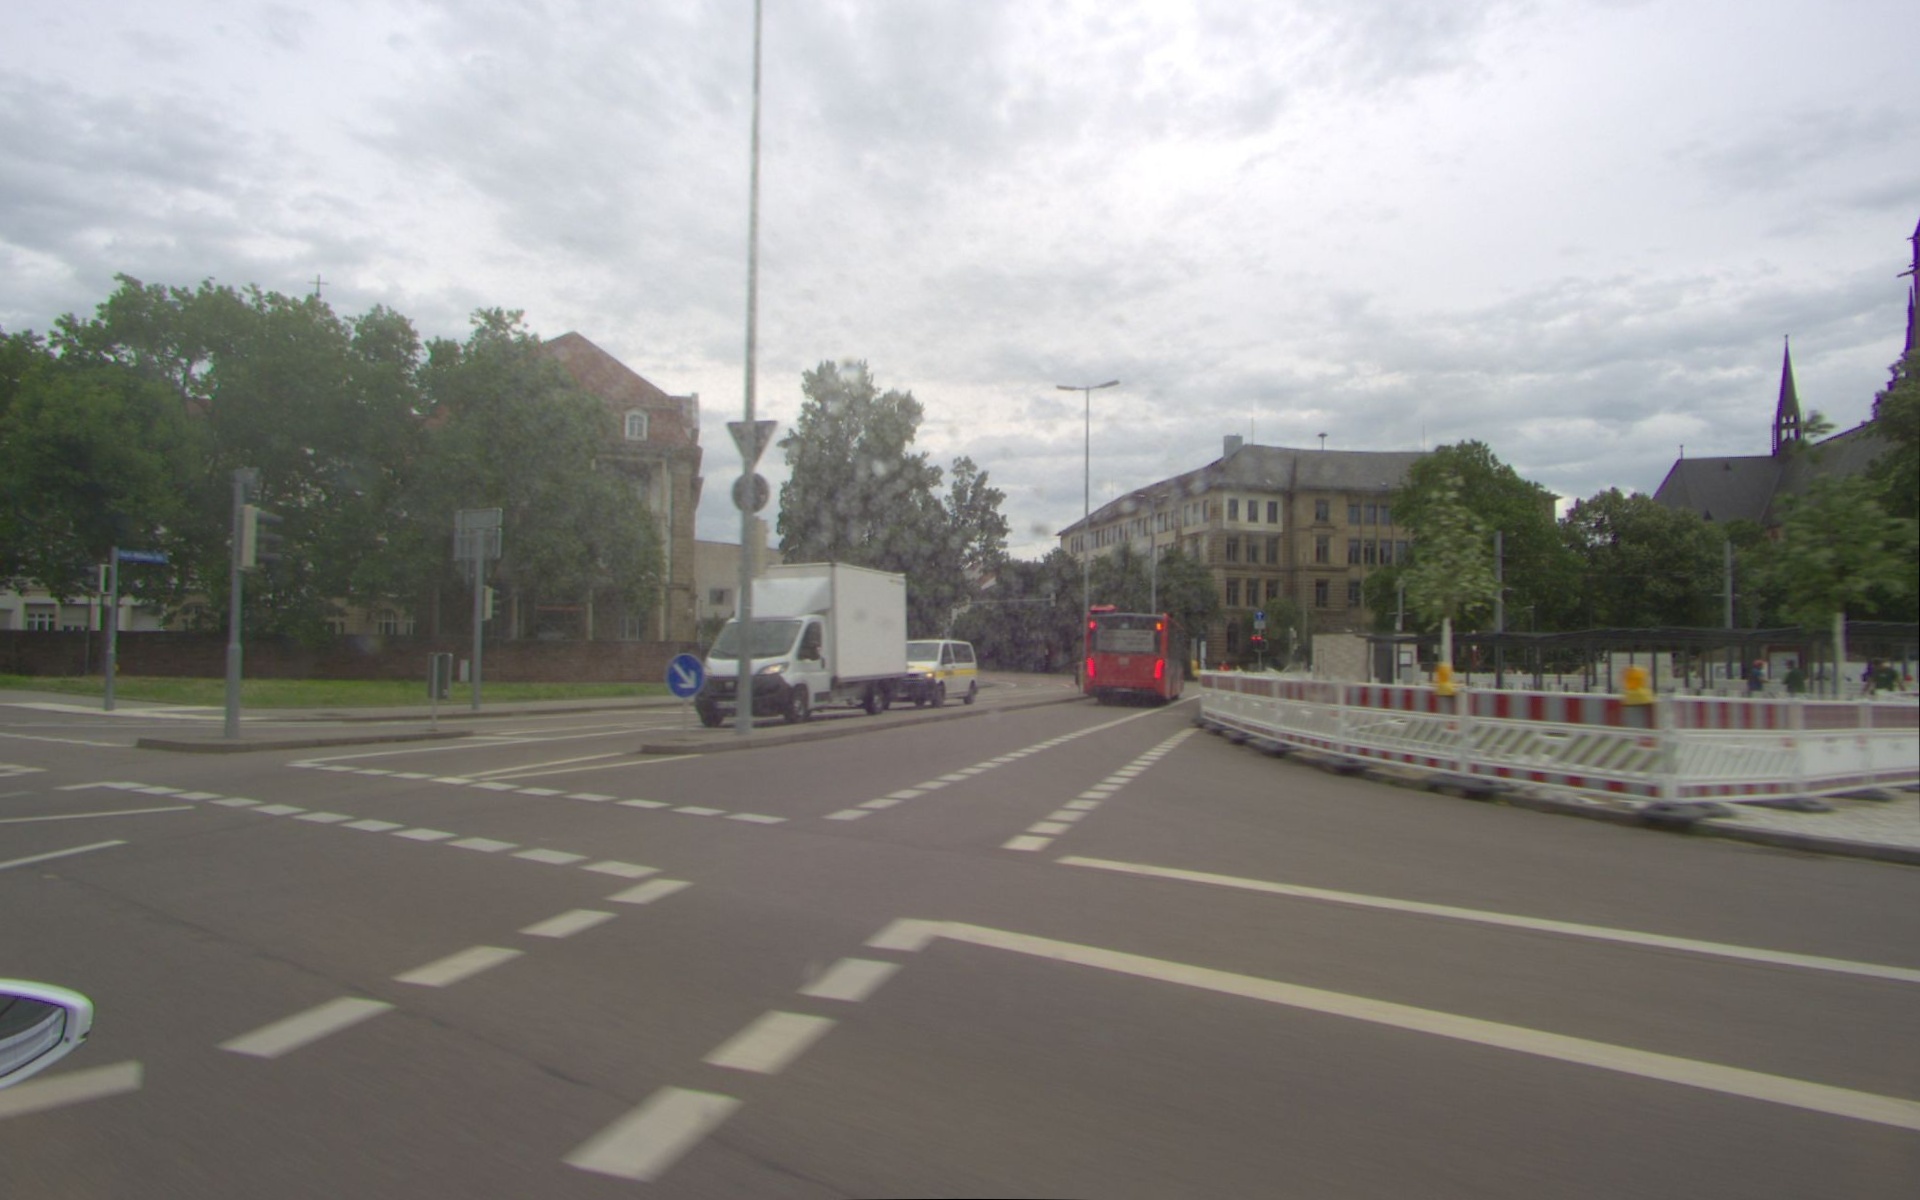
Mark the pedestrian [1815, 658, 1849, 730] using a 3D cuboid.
[{"bbox_3d":[22.677,2.435,26.049,0.635,1.827,0.591,3,-2,-42],"label":"pedestrian"}]

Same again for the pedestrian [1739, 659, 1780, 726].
[{"bbox_3d":[21.774,2.511,27.278,0.691,1.783,0.759,3,-2,-41],"label":"pedestrian"}]

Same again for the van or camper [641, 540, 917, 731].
[{"bbox_3d":[-3.476,0.833,21.536,2.825,3.373,7.146,-1,-3,18],"label":"van or camper"}]

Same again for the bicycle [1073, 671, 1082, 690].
[{"bbox_3d":[8.013,5.494,68.312,0.618,1.244,1.551,1,-2,6],"label":"bicycle"}]

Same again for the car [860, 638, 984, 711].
[{"bbox_3d":[-0.974,2.134,29.153,1.965,1.887,5.000,-3,-4,18],"label":"car"}]

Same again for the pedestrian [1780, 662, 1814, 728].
[{"bbox_3d":[22.224,2.515,26.589,0.597,1.709,0.595,3,-2,-42],"label":"pedestrian"}]

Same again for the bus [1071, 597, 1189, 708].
[{"bbox_3d":[6.541,1.943,36.514,3.012,3.338,12.376,0,-3,15],"label":"bus"}]

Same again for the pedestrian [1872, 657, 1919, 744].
[{"bbox_3d":[20.365,2.175,21.765,0.449,1.855,0.645,1,-2,-16],"label":"pedestrian"}]
